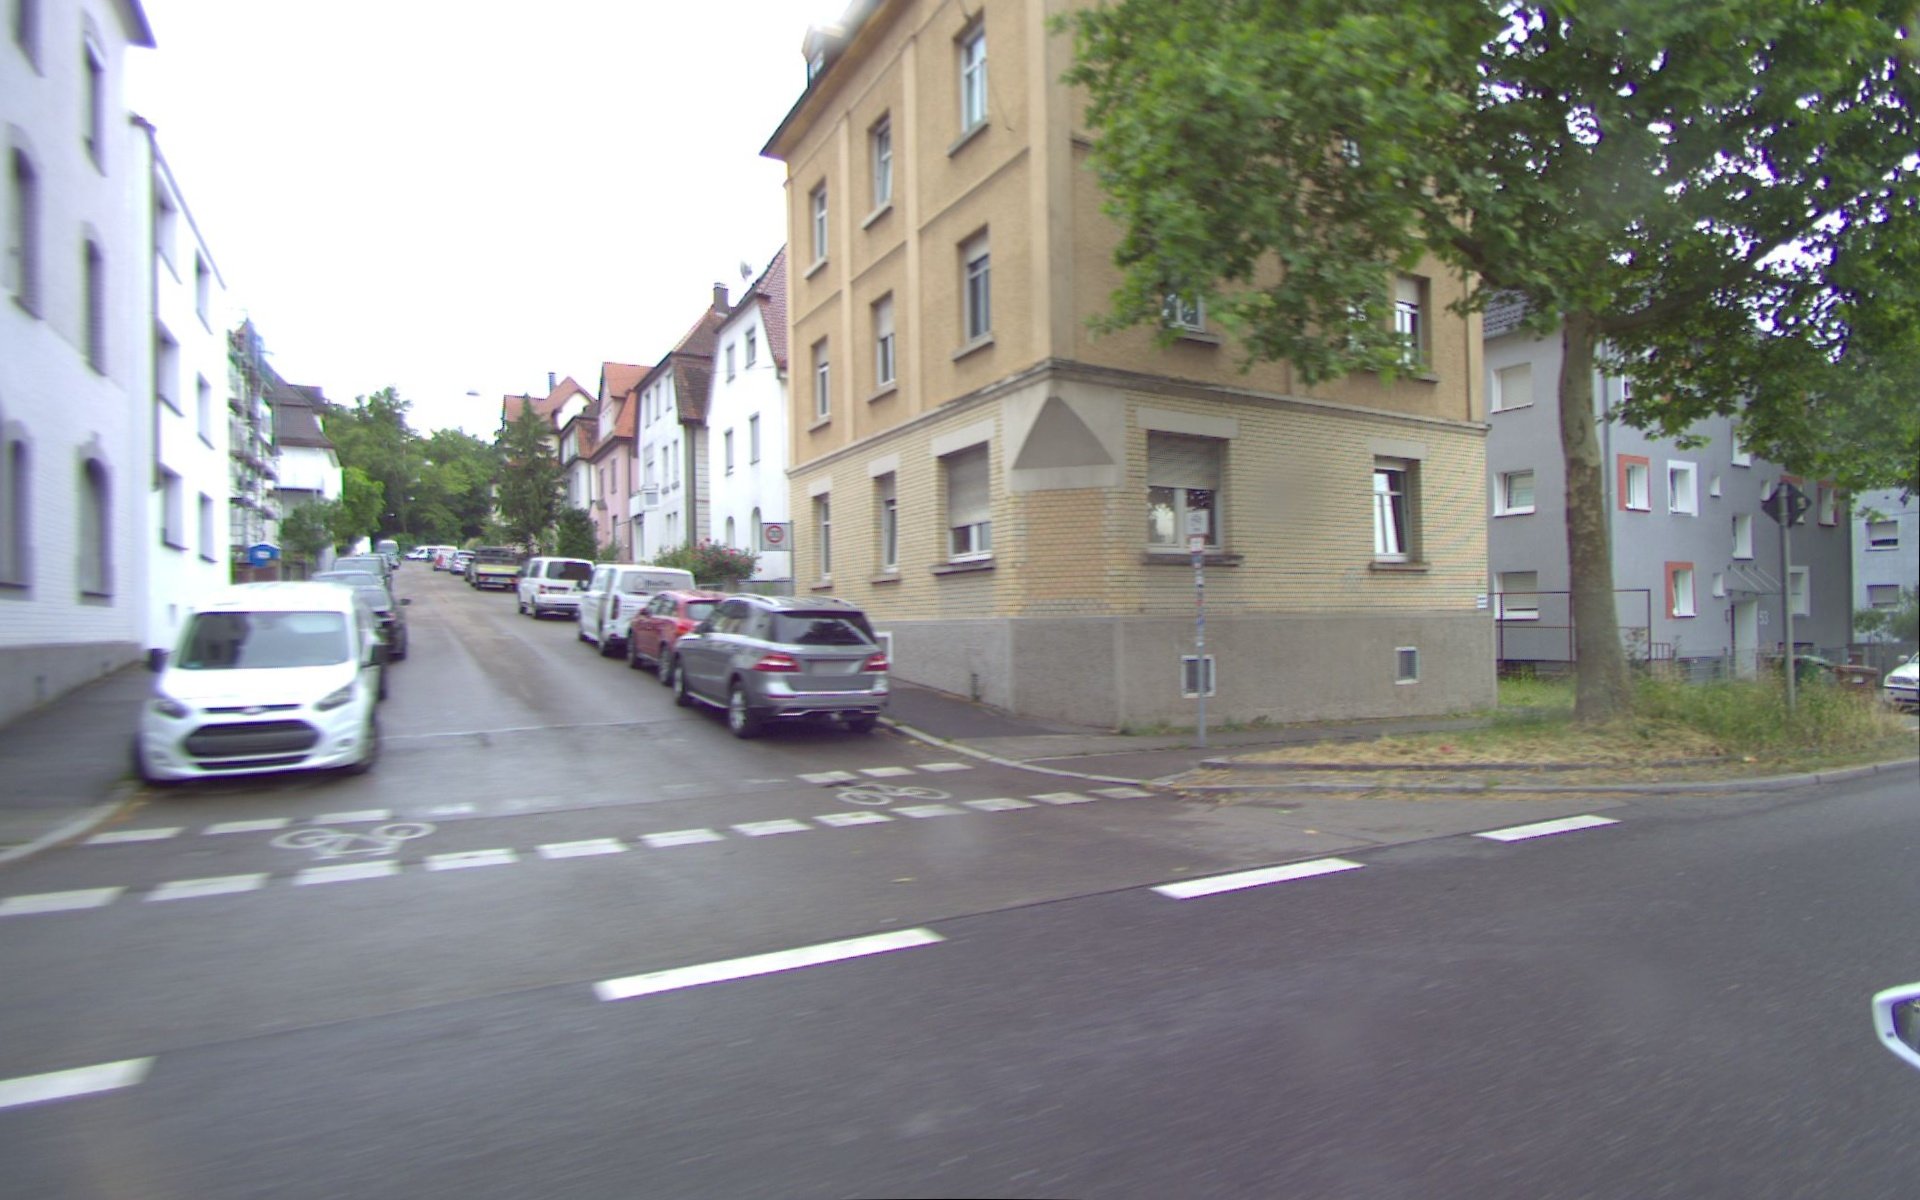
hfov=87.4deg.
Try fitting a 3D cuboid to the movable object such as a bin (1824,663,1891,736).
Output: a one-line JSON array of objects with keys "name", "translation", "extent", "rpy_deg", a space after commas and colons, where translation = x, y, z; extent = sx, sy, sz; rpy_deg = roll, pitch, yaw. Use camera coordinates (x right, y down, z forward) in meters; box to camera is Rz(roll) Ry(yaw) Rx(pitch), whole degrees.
[{"name": "movable object such as a bin", "translation": [12.121, 1.331, 13.564], "extent": [0.574, 0.940, 0.510], "rpy_deg": [2, -3, -30]}]

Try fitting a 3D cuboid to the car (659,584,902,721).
[{"name": "car", "translation": [-2.694, 0.638, 14.268], "extent": [2.021, 1.633, 4.092], "rpy_deg": [2, -1, -32]}]

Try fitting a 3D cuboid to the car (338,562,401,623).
[{"name": "car", "translation": [-15.475, -0.212, 26.392], "extent": [1.324, 1.471, 3.237], "rpy_deg": [2, 0, -30]}]

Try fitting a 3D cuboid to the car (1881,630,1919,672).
[{"name": "car", "translation": [36.956, 1.942, 36.626], "extent": [1.848, 1.496, 4.641], "rpy_deg": [2, -1, -29]}]

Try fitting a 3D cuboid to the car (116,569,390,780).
[{"name": "car", "translation": [-7.481, 0.635, 11.117], "extent": [1.996, 1.801, 4.648], "rpy_deg": [2, 0, -30]}]

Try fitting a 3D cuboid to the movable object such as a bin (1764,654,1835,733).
[{"name": "movable object such as a bin", "translation": [11.747, 1.296, 14.059], "extent": [0.753, 1.071, 0.532], "rpy_deg": [2, -3, -30]}]

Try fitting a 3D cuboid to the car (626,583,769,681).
[{"name": "car", "translation": [-4.994, 0.528, 18.750], "extent": [1.622, 1.538, 3.804], "rpy_deg": [1, 1, -30]}]

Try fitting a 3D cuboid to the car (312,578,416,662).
[{"name": "car", "translation": [-11.864, 0.358, 20.108], "extent": [1.616, 1.402, 3.552], "rpy_deg": [2, 2, -30]}]

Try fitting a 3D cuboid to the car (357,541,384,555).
[{"name": "car", "translation": [-81.134, -7.159, 138.266], "extent": [1.394, 1.687, 2.876], "rpy_deg": [4, 2, 32]}]

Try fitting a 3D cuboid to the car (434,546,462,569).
[{"name": "car", "translation": [-48.523, -3.985, 95.162], "extent": [1.842, 2.040, 4.247], "rpy_deg": [2, 0, -33]}]

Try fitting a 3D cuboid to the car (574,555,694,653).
[{"name": "car", "translation": [-7.549, 0.034, 23.044], "extent": [1.784, 1.959, 4.011], "rpy_deg": [2, 2, -30]}]

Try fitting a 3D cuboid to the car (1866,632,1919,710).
[{"name": "car", "translation": [18.752, 1.307, 18.695], "extent": [4.491, 1.344, 1.745], "rpy_deg": [2, -1, -33]}]

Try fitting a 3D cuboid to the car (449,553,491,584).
[{"name": "car", "translation": [-37.397, -2.407, 76.604], "extent": [2.358, 2.041, 4.246], "rpy_deg": [2, 3, -33]}]

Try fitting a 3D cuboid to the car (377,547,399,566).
[{"name": "car", "translation": [-62.401, -4.706, 109.624], "extent": [1.977, 1.803, 3.968], "rpy_deg": [2, 0, -30]}]

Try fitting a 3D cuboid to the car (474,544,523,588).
[{"name": "car", "translation": [-24.733, -1.831, 53.747], "extent": [2.082, 2.040, 4.253], "rpy_deg": [3, 3, -28]}]

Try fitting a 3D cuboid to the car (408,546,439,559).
[{"name": "car", "translation": [-77.332, -6.833, 144.741], "extent": [1.572, 1.687, 3.654], "rpy_deg": [4, 2, 32]}]

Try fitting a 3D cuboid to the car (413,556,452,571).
[{"name": "car", "translation": [-69.231, -4.788, 131.894], "extent": [4.222, 1.946, 2.371], "rpy_deg": [0, 1, -21]}]

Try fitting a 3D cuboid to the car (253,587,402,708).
[{"name": "car", "translation": [-9.895, 0.651, 15.969], "extent": [1.772, 1.507, 3.968], "rpy_deg": [1, 2, -29]}]

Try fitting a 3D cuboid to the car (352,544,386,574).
[{"name": "car", "translation": [-36.085, -2.513, 61.376], "extent": [1.709, 1.687, 3.552], "rpy_deg": [2, 2, -30]}]

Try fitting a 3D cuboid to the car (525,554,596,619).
[{"name": "car", "translation": [-13.232, -0.494, 33.168], "extent": [1.700, 1.946, 3.563], "rpy_deg": [2, 2, -29]}]

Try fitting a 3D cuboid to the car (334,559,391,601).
[{"name": "car", "translation": [-22.072, -0.764, 37.155], "extent": [1.710, 1.371, 3.199], "rpy_deg": [2, 2, -30]}]
